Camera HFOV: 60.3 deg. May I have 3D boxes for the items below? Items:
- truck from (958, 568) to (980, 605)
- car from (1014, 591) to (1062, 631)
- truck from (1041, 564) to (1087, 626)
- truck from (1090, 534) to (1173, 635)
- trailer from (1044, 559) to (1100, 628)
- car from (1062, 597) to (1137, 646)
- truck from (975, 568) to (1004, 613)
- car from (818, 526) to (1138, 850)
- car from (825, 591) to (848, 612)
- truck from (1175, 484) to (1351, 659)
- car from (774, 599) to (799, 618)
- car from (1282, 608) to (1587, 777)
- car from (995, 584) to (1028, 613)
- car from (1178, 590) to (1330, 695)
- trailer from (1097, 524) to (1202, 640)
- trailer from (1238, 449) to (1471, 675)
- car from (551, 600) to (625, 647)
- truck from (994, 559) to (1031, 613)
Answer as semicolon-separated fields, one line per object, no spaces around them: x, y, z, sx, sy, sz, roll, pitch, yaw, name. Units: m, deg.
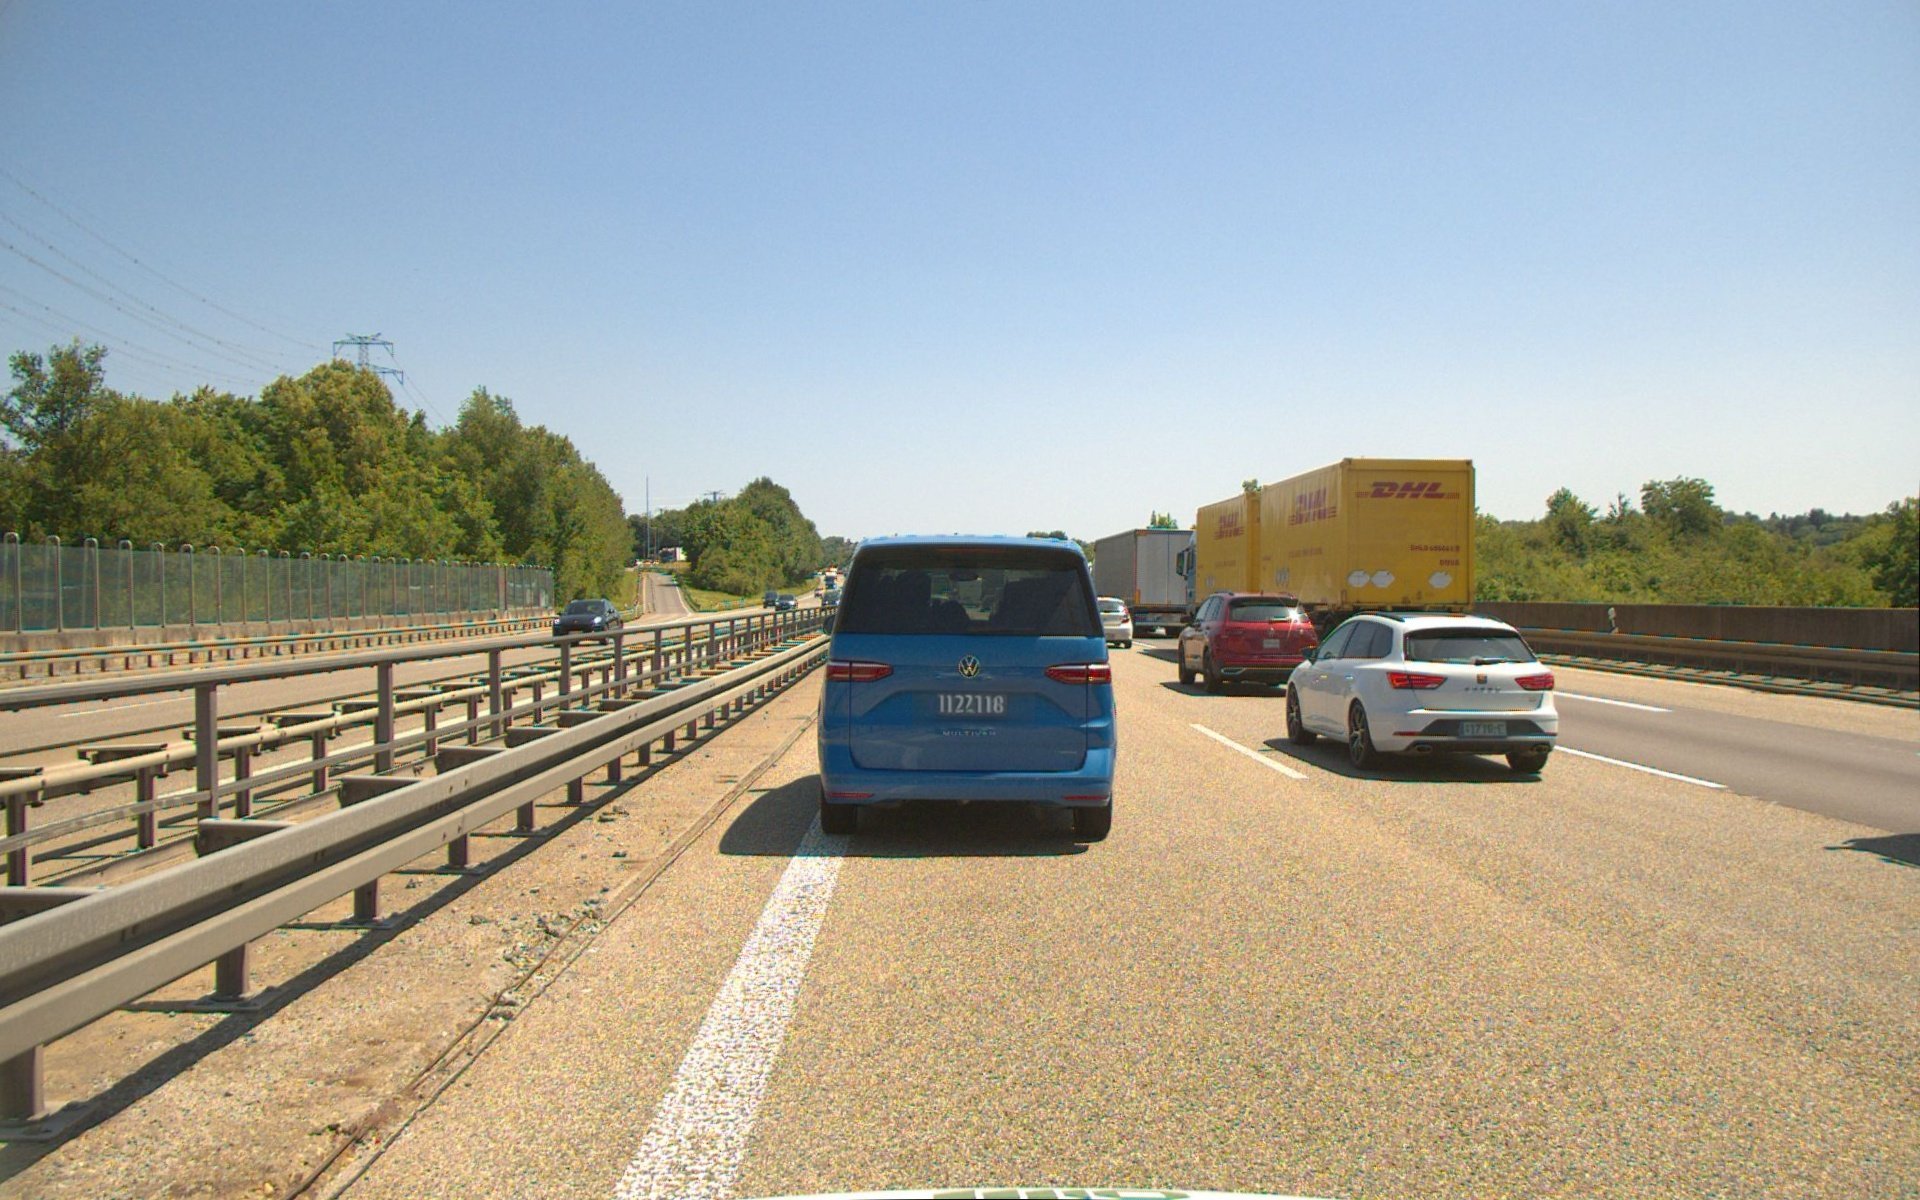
1.381;-2.034;254.100;2.777;5.467;12.548;1;-1;-2;truck
3.315;0.445;70.506;1.681;1.614;3.819;-1;0;-2;car
6.528;-0.277;104.522;2.320;3.787;6.031;1;-1;-1;truck
7.401;-0.616;72.307;2.712;4.167;6.982;1;-1;-1;truck
6.609;-0.321;99.006;2.331;3.809;11.184;1;-1;-1;trailer
4.243;0.628;50.705;1.801;1.438;3.998;0;0;-2;car
3.470;-1.047;197.195;2.777;5.128;11.810;1;-1;-2;truck
0.081;0.511;11.605;1.844;1.869;3.999;0;0;-1;car
-10.759;0.115;144.249;1.719;1.751;4.100;-1;0;-1;car
7.890;-0.638;44.559;2.667;4.125;10.334;1;-1;-1;truck
-15.113;0.761;144.028;1.719;1.574;3.999;-2;-1;-1;car
4.483;0.809;16.290;1.745;1.411;4.187;1;0;-1;car
2.928;-0.087;95.043;1.680;1.567;3.820;-1;0;-1;car
4.873;0.663;27.965;1.813;1.636;3.999;0;0;-1;car
7.488;-0.612;66.882;2.699;4.219;11.309;1;-1;-1;trailer
8.016;-0.660;34.911;2.646;4.094;8.928;1;-1;-1;trailer
-13.423;0.820;59.899;1.744;1.596;4.385;-2;0;-1;car
5.149;-1.285;164.555;2.777;5.128;11.140;1;-1;-2;truck
